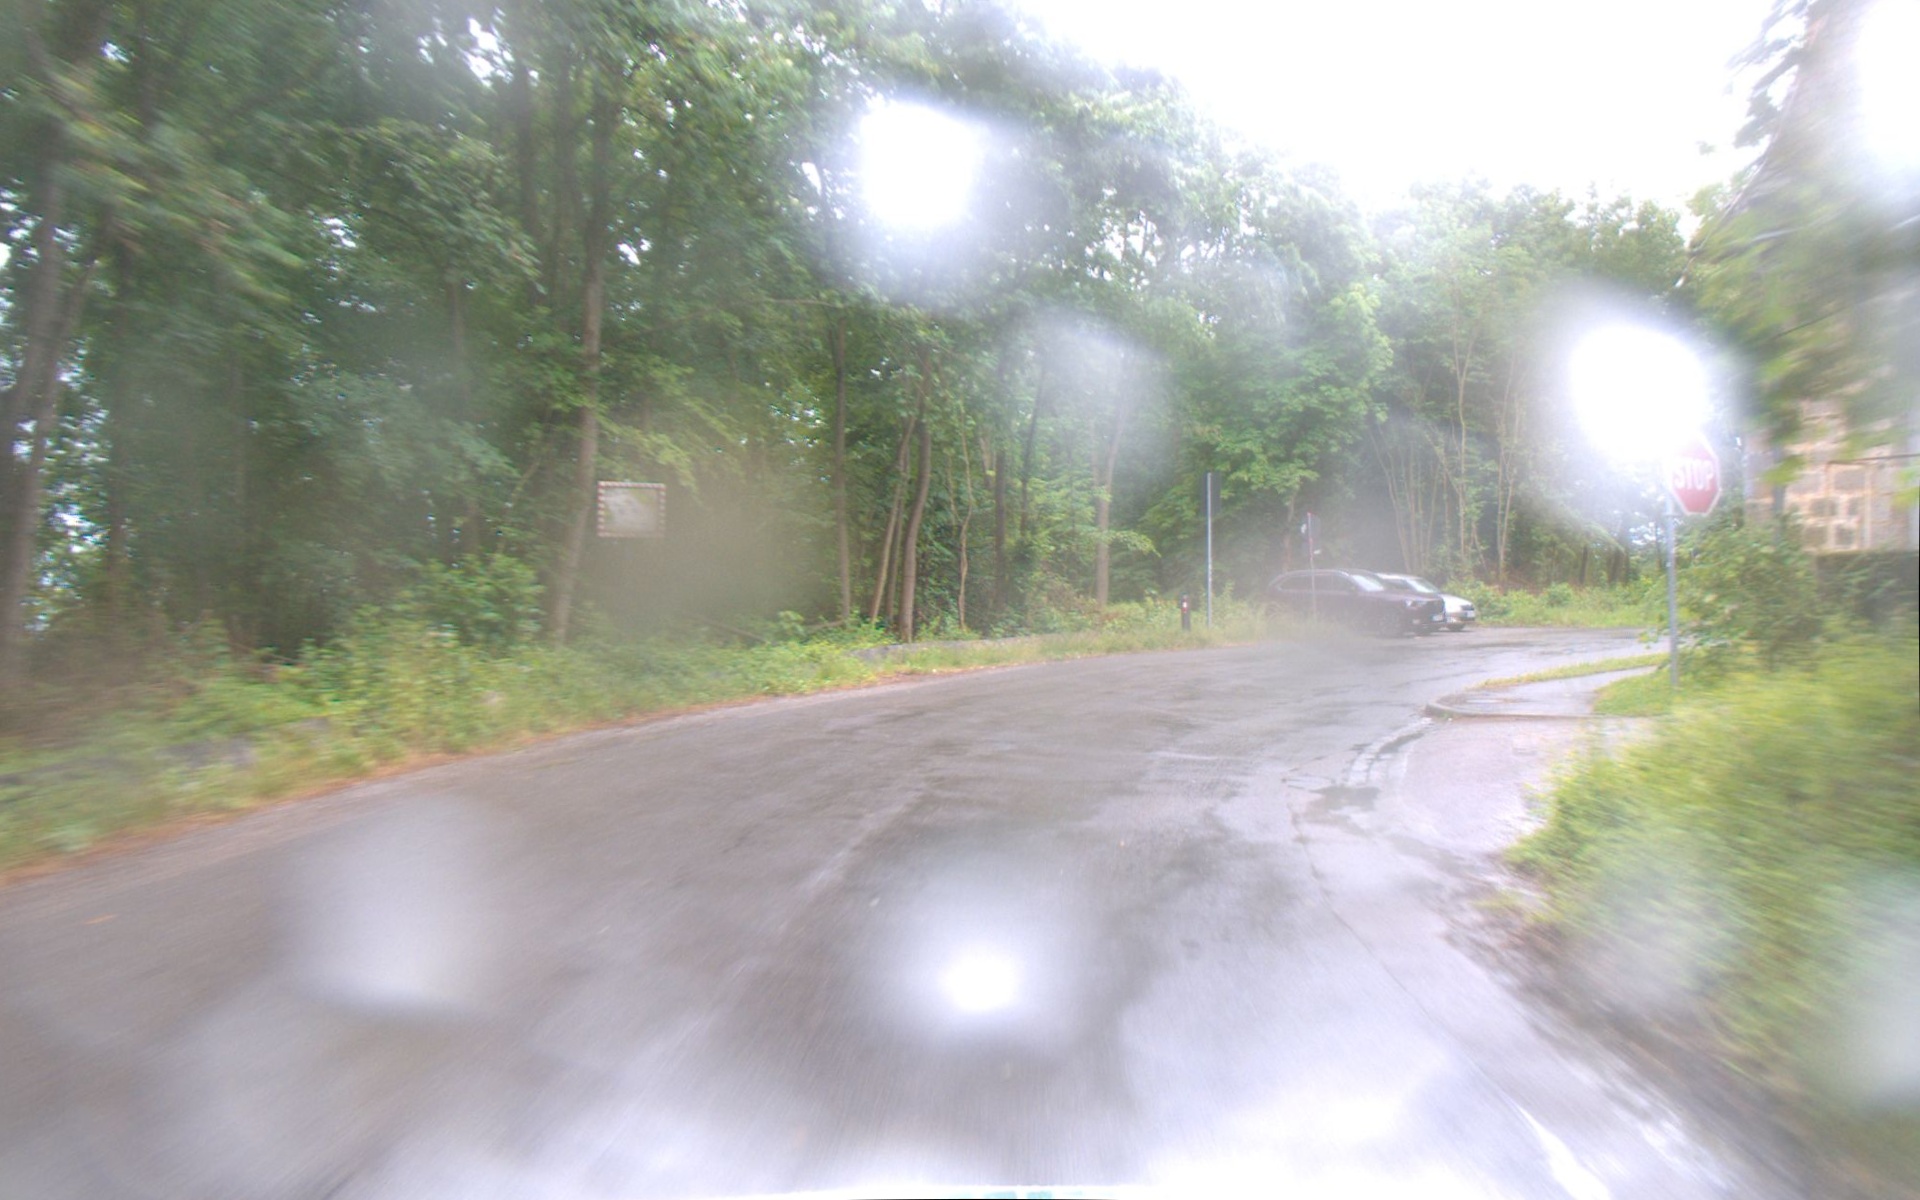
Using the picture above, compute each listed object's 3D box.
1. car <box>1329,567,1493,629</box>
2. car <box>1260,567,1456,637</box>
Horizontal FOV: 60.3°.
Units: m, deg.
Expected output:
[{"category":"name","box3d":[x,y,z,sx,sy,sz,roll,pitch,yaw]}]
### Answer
[{"category":"car","box3d":[12.429,-0.060,45.754,1.760,1.581,4.084,-3,2,-43]},{"category":"car","box3d":[10.381,0.045,43.384,1.863,1.706,4.761,-3,2,-45]}]
